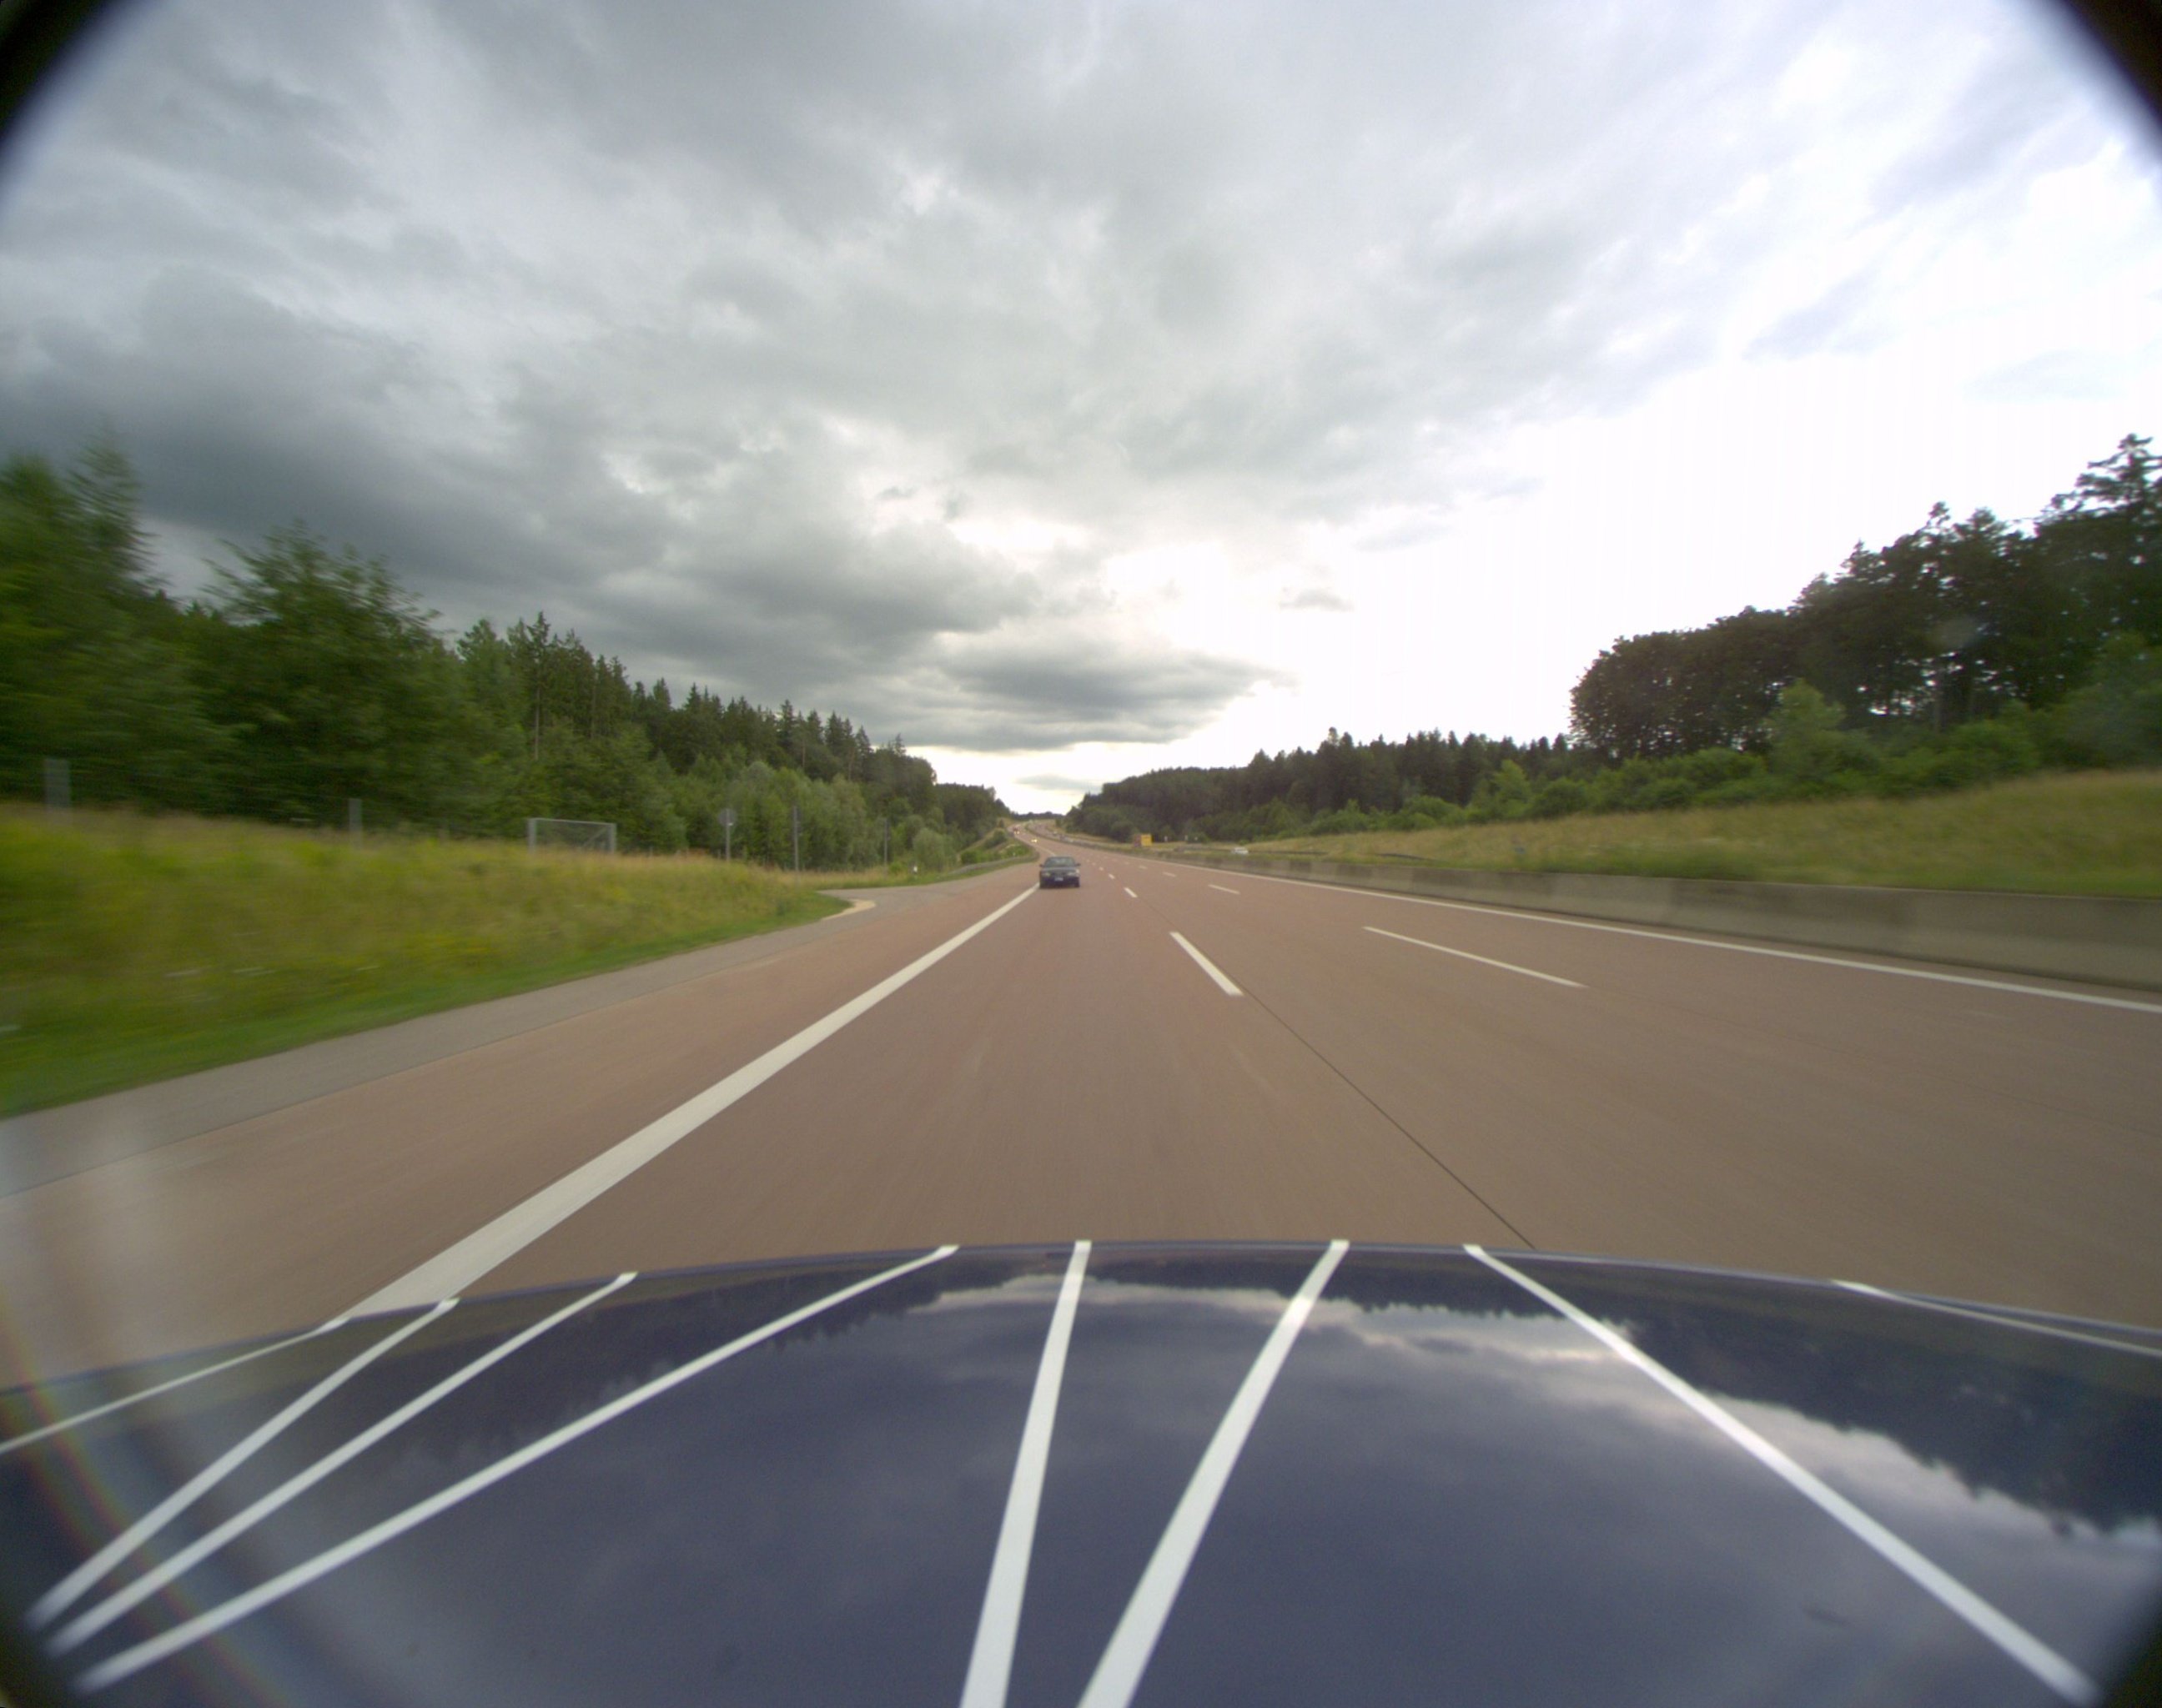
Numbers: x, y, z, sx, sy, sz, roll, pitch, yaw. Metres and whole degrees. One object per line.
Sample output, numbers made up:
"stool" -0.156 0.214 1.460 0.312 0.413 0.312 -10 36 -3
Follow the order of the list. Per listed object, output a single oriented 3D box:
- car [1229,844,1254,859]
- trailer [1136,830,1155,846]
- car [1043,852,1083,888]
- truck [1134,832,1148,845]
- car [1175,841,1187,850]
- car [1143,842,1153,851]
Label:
"car" 18.728 -0.347 88.912 1.674 1.517 4.823 -2 2 -2
"trailer" 17.196 -4.295 204.792 3.042 4.019 14.522 -2 2 -3
"car" -0.774 0.667 34.267 1.676 1.395 4.231 -1 2 -1
"truck" 16.826 -4.253 212.349 3.020 3.561 6.055 -2 1 -2
"car" 20.113 -1.735 152.521 1.767 1.629 4.378 -2 3 -1
"car" 14.534 -1.620 165.428 1.812 1.805 3.999 -1 1 0
